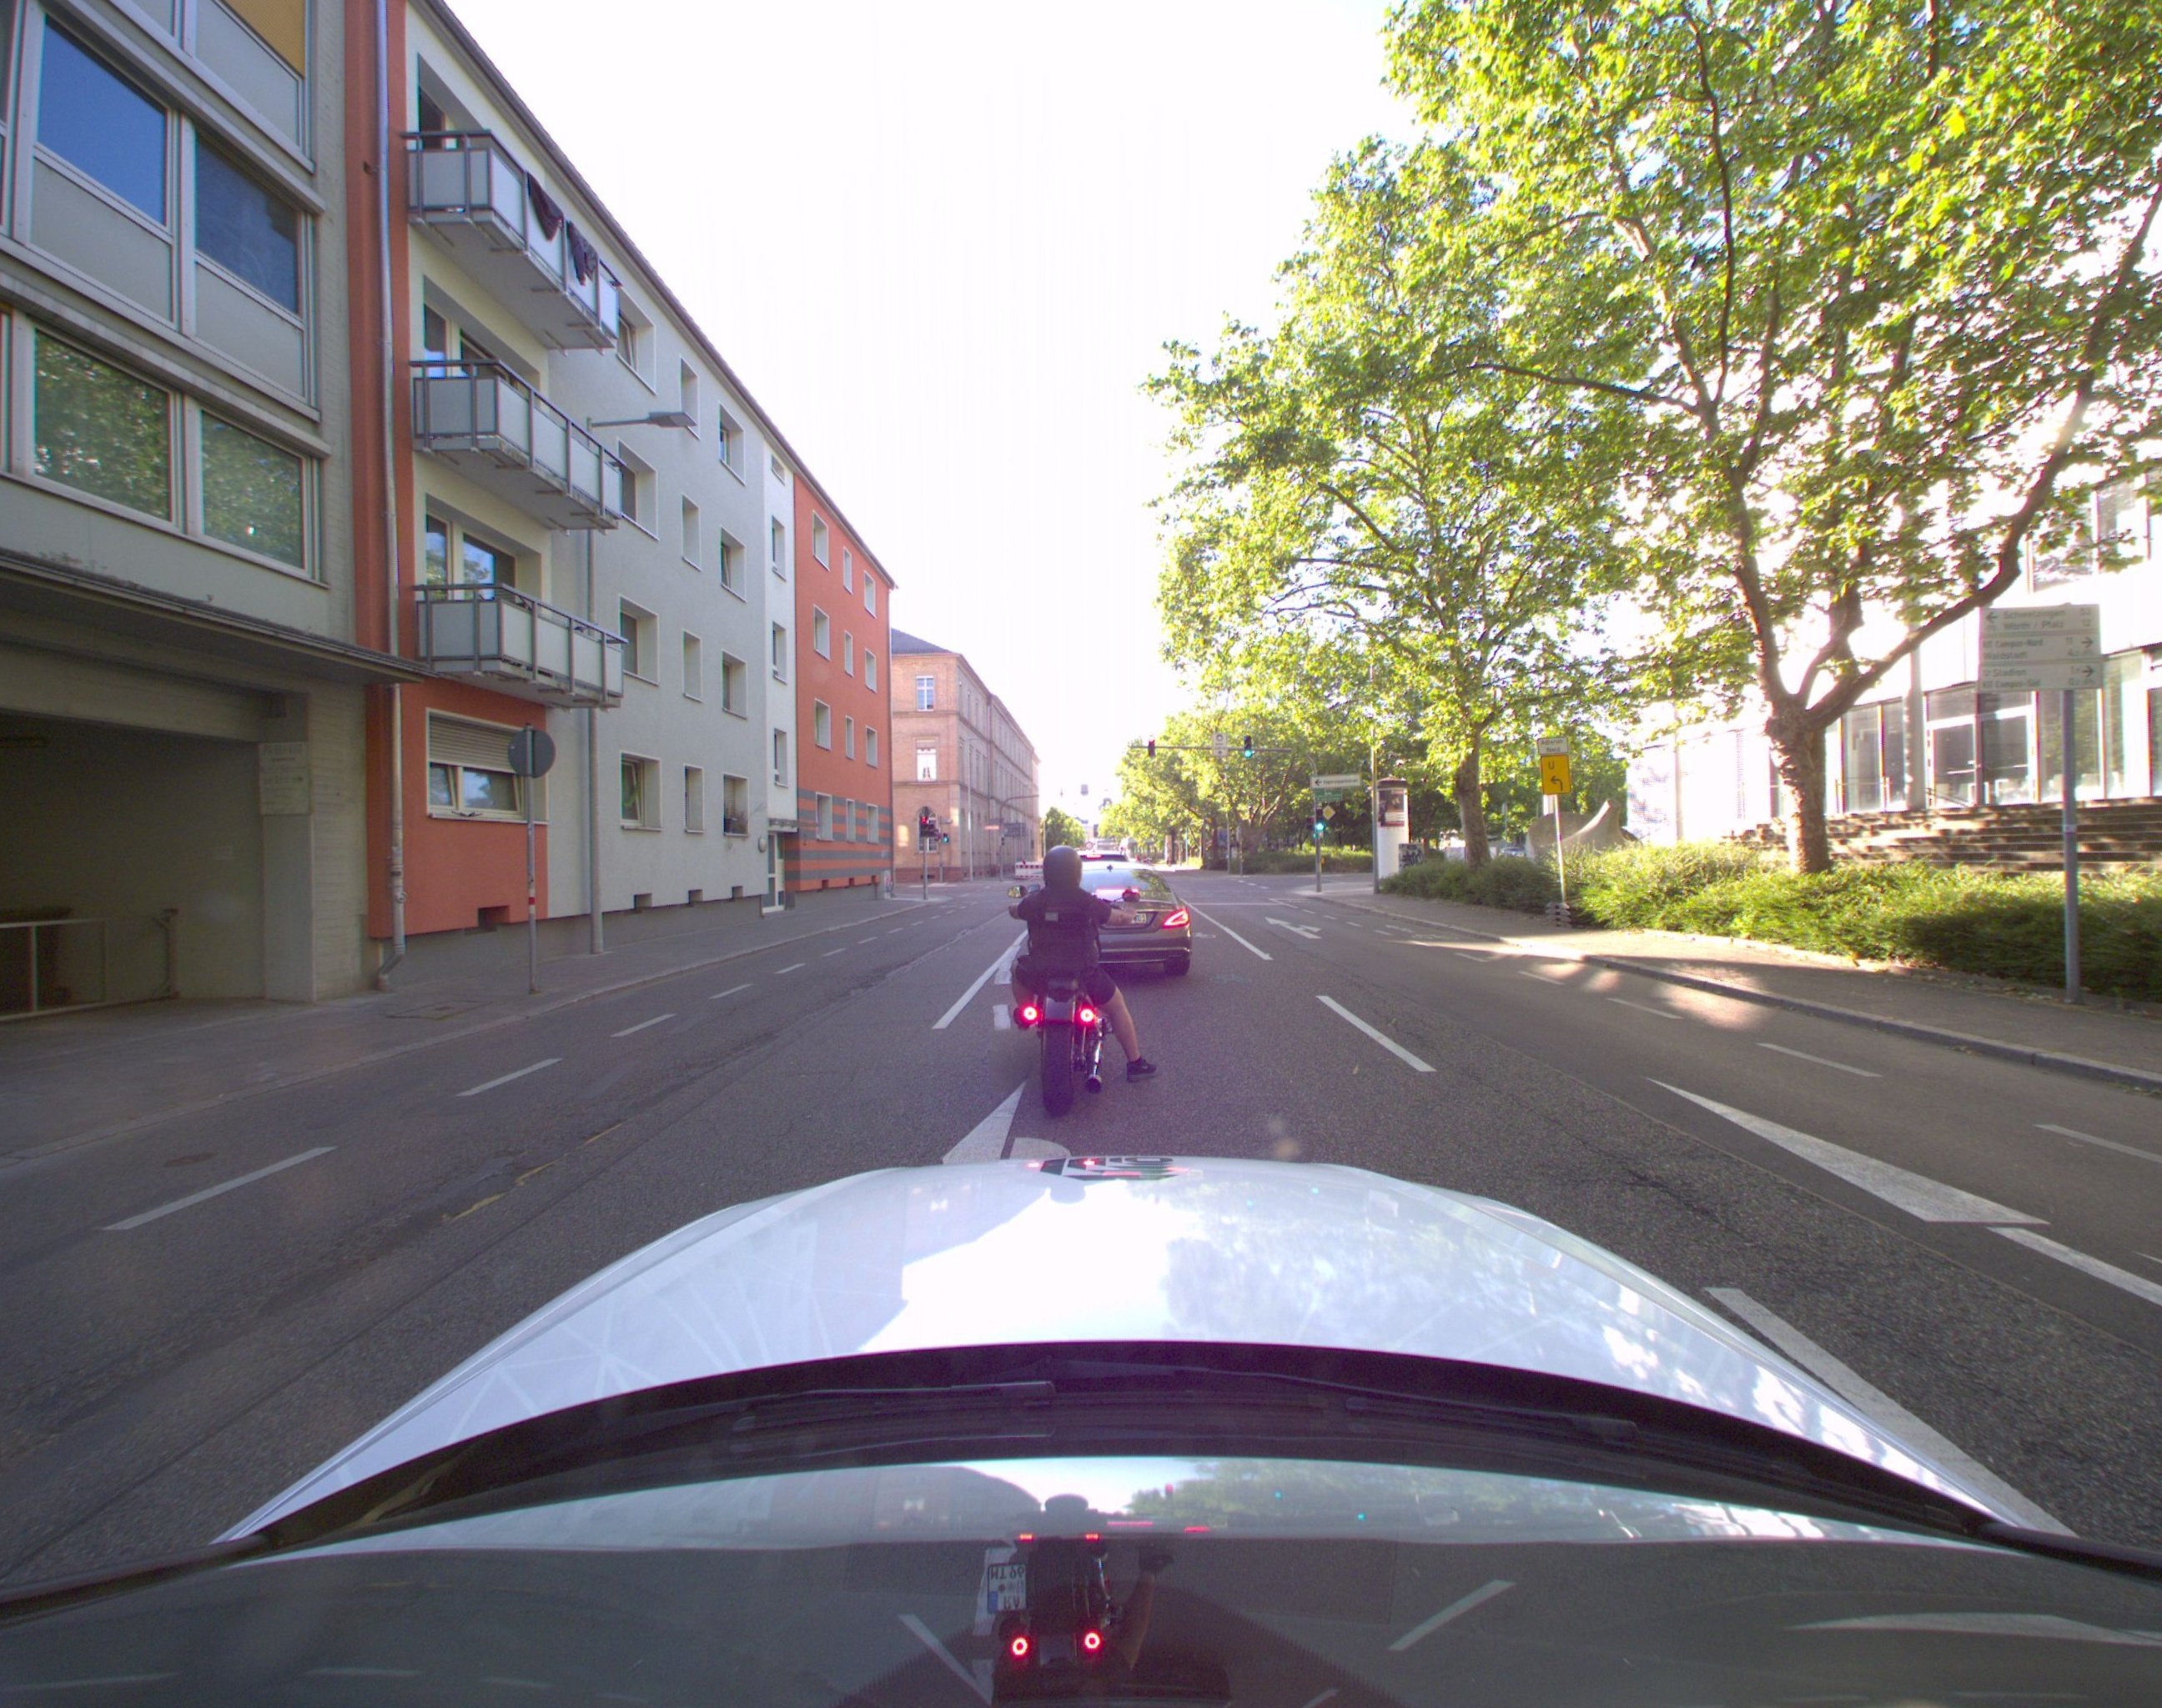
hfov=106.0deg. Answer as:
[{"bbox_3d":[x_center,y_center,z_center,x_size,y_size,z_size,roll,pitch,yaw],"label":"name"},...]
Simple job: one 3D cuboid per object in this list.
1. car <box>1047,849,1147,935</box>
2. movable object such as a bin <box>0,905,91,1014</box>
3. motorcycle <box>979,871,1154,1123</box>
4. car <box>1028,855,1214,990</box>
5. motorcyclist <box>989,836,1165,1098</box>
[{"bbox_3d":[0.265,0.695,16.895,1.808,1.536,3.847,-1,0,-1],"label":"car"},{"bbox_3d":[-11.328,1.096,8.647,0.736,1.074,0.716,0,-1,2],"label":"movable object such as a bin"},{"bbox_3d":[-0.044,0.812,5.660,0.958,1.357,2.321,0,-1,2],"label":"motorcycle"},{"bbox_3d":[0.321,0.757,11.197,1.900,1.441,4.279,-1,0,-6],"label":"car"},{"bbox_3d":[-0.009,0.687,5.390,1.057,1.582,0.908,0,-1,1],"label":"motorcyclist"}]
